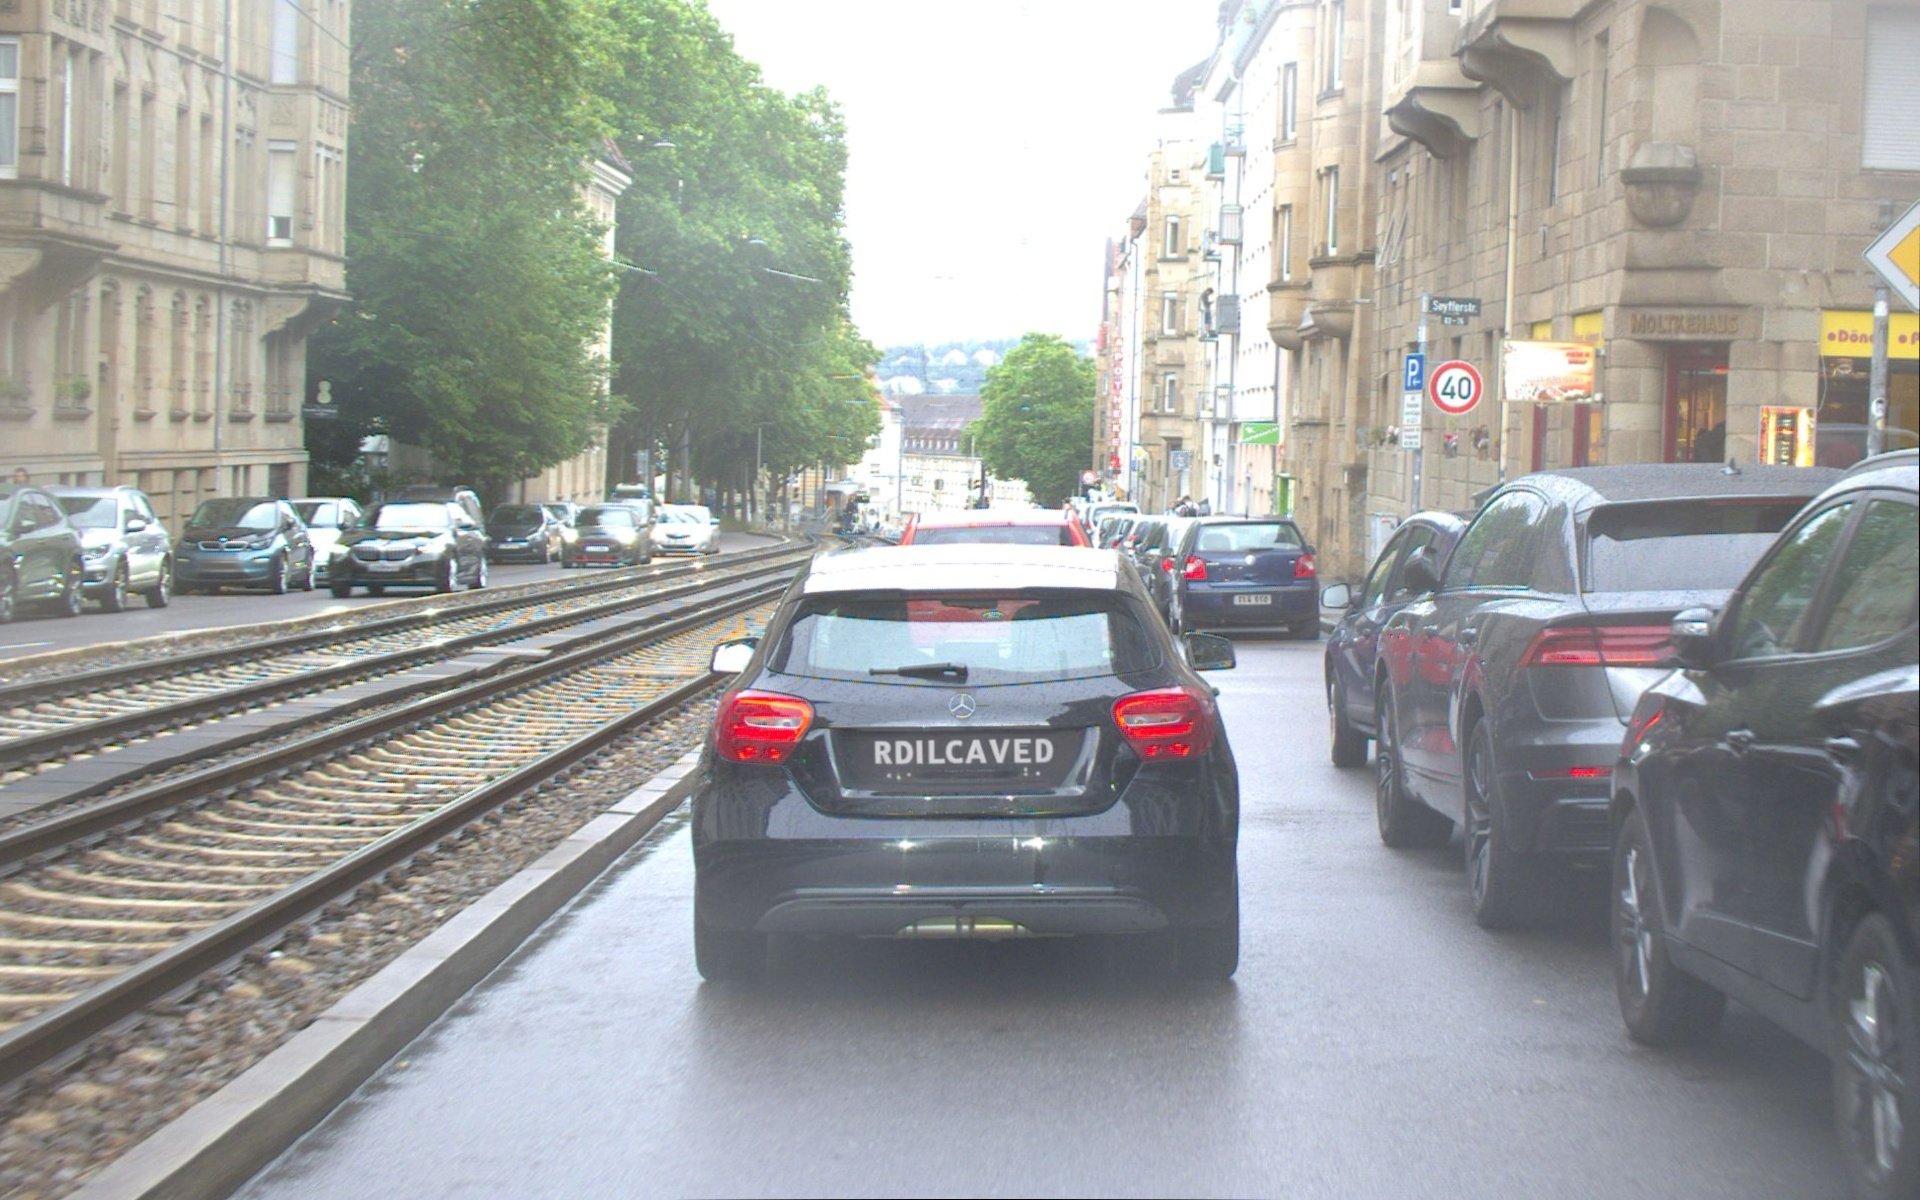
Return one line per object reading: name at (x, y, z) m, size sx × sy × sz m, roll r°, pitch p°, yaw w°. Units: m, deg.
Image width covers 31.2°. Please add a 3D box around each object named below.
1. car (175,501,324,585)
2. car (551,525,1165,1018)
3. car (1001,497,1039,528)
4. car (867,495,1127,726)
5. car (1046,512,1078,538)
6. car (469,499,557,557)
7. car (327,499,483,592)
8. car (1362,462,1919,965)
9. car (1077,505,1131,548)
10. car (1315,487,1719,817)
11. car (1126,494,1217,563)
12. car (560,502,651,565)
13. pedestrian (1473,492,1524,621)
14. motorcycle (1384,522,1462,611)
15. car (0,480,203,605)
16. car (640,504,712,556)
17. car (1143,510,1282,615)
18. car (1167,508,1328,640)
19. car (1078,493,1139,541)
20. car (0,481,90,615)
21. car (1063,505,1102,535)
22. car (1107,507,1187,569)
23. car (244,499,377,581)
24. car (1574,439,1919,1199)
car at (-11.530, -0.945, 55.964) m, size 1.569 × 1.312 × 3.481 m, roll 0°, pitch 2°, yaw 3°
car at (-0.221, 0.477, 12.461) m, size 1.866 × 1.447 × 4.000 m, roll 0°, pitch 2°, yaw 3°
car at (2.617, -3.800, 149.376) m, size 1.613 × 1.313 × 4.000 m, roll 0°, pitch 2°, yaw 1°
car at (0.263, 0.010, 24.339) m, size 1.649 × 1.447 × 4.000 m, roll 2°, pitch 2°, yaw 1°
car at (5.268, -3.880, 177.302) m, size 1.613 × 1.313 × 4.000 m, roll 0°, pitch 2°, yaw 1°
car at (-11.096, -1.802, 85.555) m, size 1.569 × 1.408 × 3.481 m, roll 0°, pitch 2°, yaw 3°
car at (-8.585, -0.873, 53.408) m, size 1.695 × 1.383 × 3.481 m, roll 0°, pitch 2°, yaw 3°
car at (2.724, 0.313, 13.765) m, size 1.750 × 1.664 × 4.704 m, roll 0°, pitch 2°, yaw 1°
car at (4.506, -2.333, 107.997) m, size 1.613 × 1.313 × 4.000 m, roll 0°, pitch 2°, yaw 1°
car at (2.916, 0.196, 18.738) m, size 1.613 × 1.599 × 4.000 m, roll 0°, pitch 2°, yaw 1°
car at (4.128, -1.424, 67.561) m, size 1.613 × 1.313 × 4.000 m, roll 0°, pitch 2°, yaw 1°
car at (-8.111, -1.533, 78.865) m, size 1.569 × 1.408 × 3.481 m, roll 0°, pitch 2°, yaw 3°
pedestrian at (6.161, -0.504, 39.363) m, size 0.454 × 1.461 × 0.610 m, roll 1°, pitch 1°, yaw 1°
motorcycle at (7.110, -0.531, 52.924) m, size 0.880 × 1.311 × 2.396 m, roll 1°, pitch 1°, yaw 1°
car at (-11.705, -0.802, 46.327) m, size 1.806 × 1.591 × 4.525 m, roll 0°, pitch 2°, yaw 3°
car at (-7.906, -1.968, 95.884) m, size 1.569 × 1.408 × 3.481 m, roll 0°, pitch 2°, yaw 3°
car at (3.308, -0.532, 45.672) m, size 1.613 × 1.313 × 4.000 m, roll 0°, pitch 2°, yaw 1°
car at (3.350, -0.345, 40.621) m, size 1.622 × 1.479 × 4.000 m, roll 0°, pitch 2°, yaw 1°
car at (4.158, -2.338, 96.902) m, size 1.613 × 1.313 × 4.000 m, roll 0°, pitch 2°, yaw 1°
car at (-11.792, -0.638, 40.915) m, size 1.722 × 1.535 × 3.933 m, roll 0°, pitch 2°, yaw 3°
car at (5.481, -3.602, 154.113) m, size 1.613 × 1.313 × 4.000 m, roll 1°, pitch 2°, yaw 1°
car at (4.108, -1.391, 76.099) m, size 1.613 × 1.313 × 4.000 m, roll 0°, pitch 2°, yaw 1°
car at (-11.536, -1.088, 61.218) m, size 1.569 × 1.408 × 3.481 m, roll 0°, pitch 2°, yaw 3°
car at (2.689, 0.481, 8.254) m, size 1.683 × 1.664 × 4.123 m, roll 0°, pitch 2°, yaw 0°
